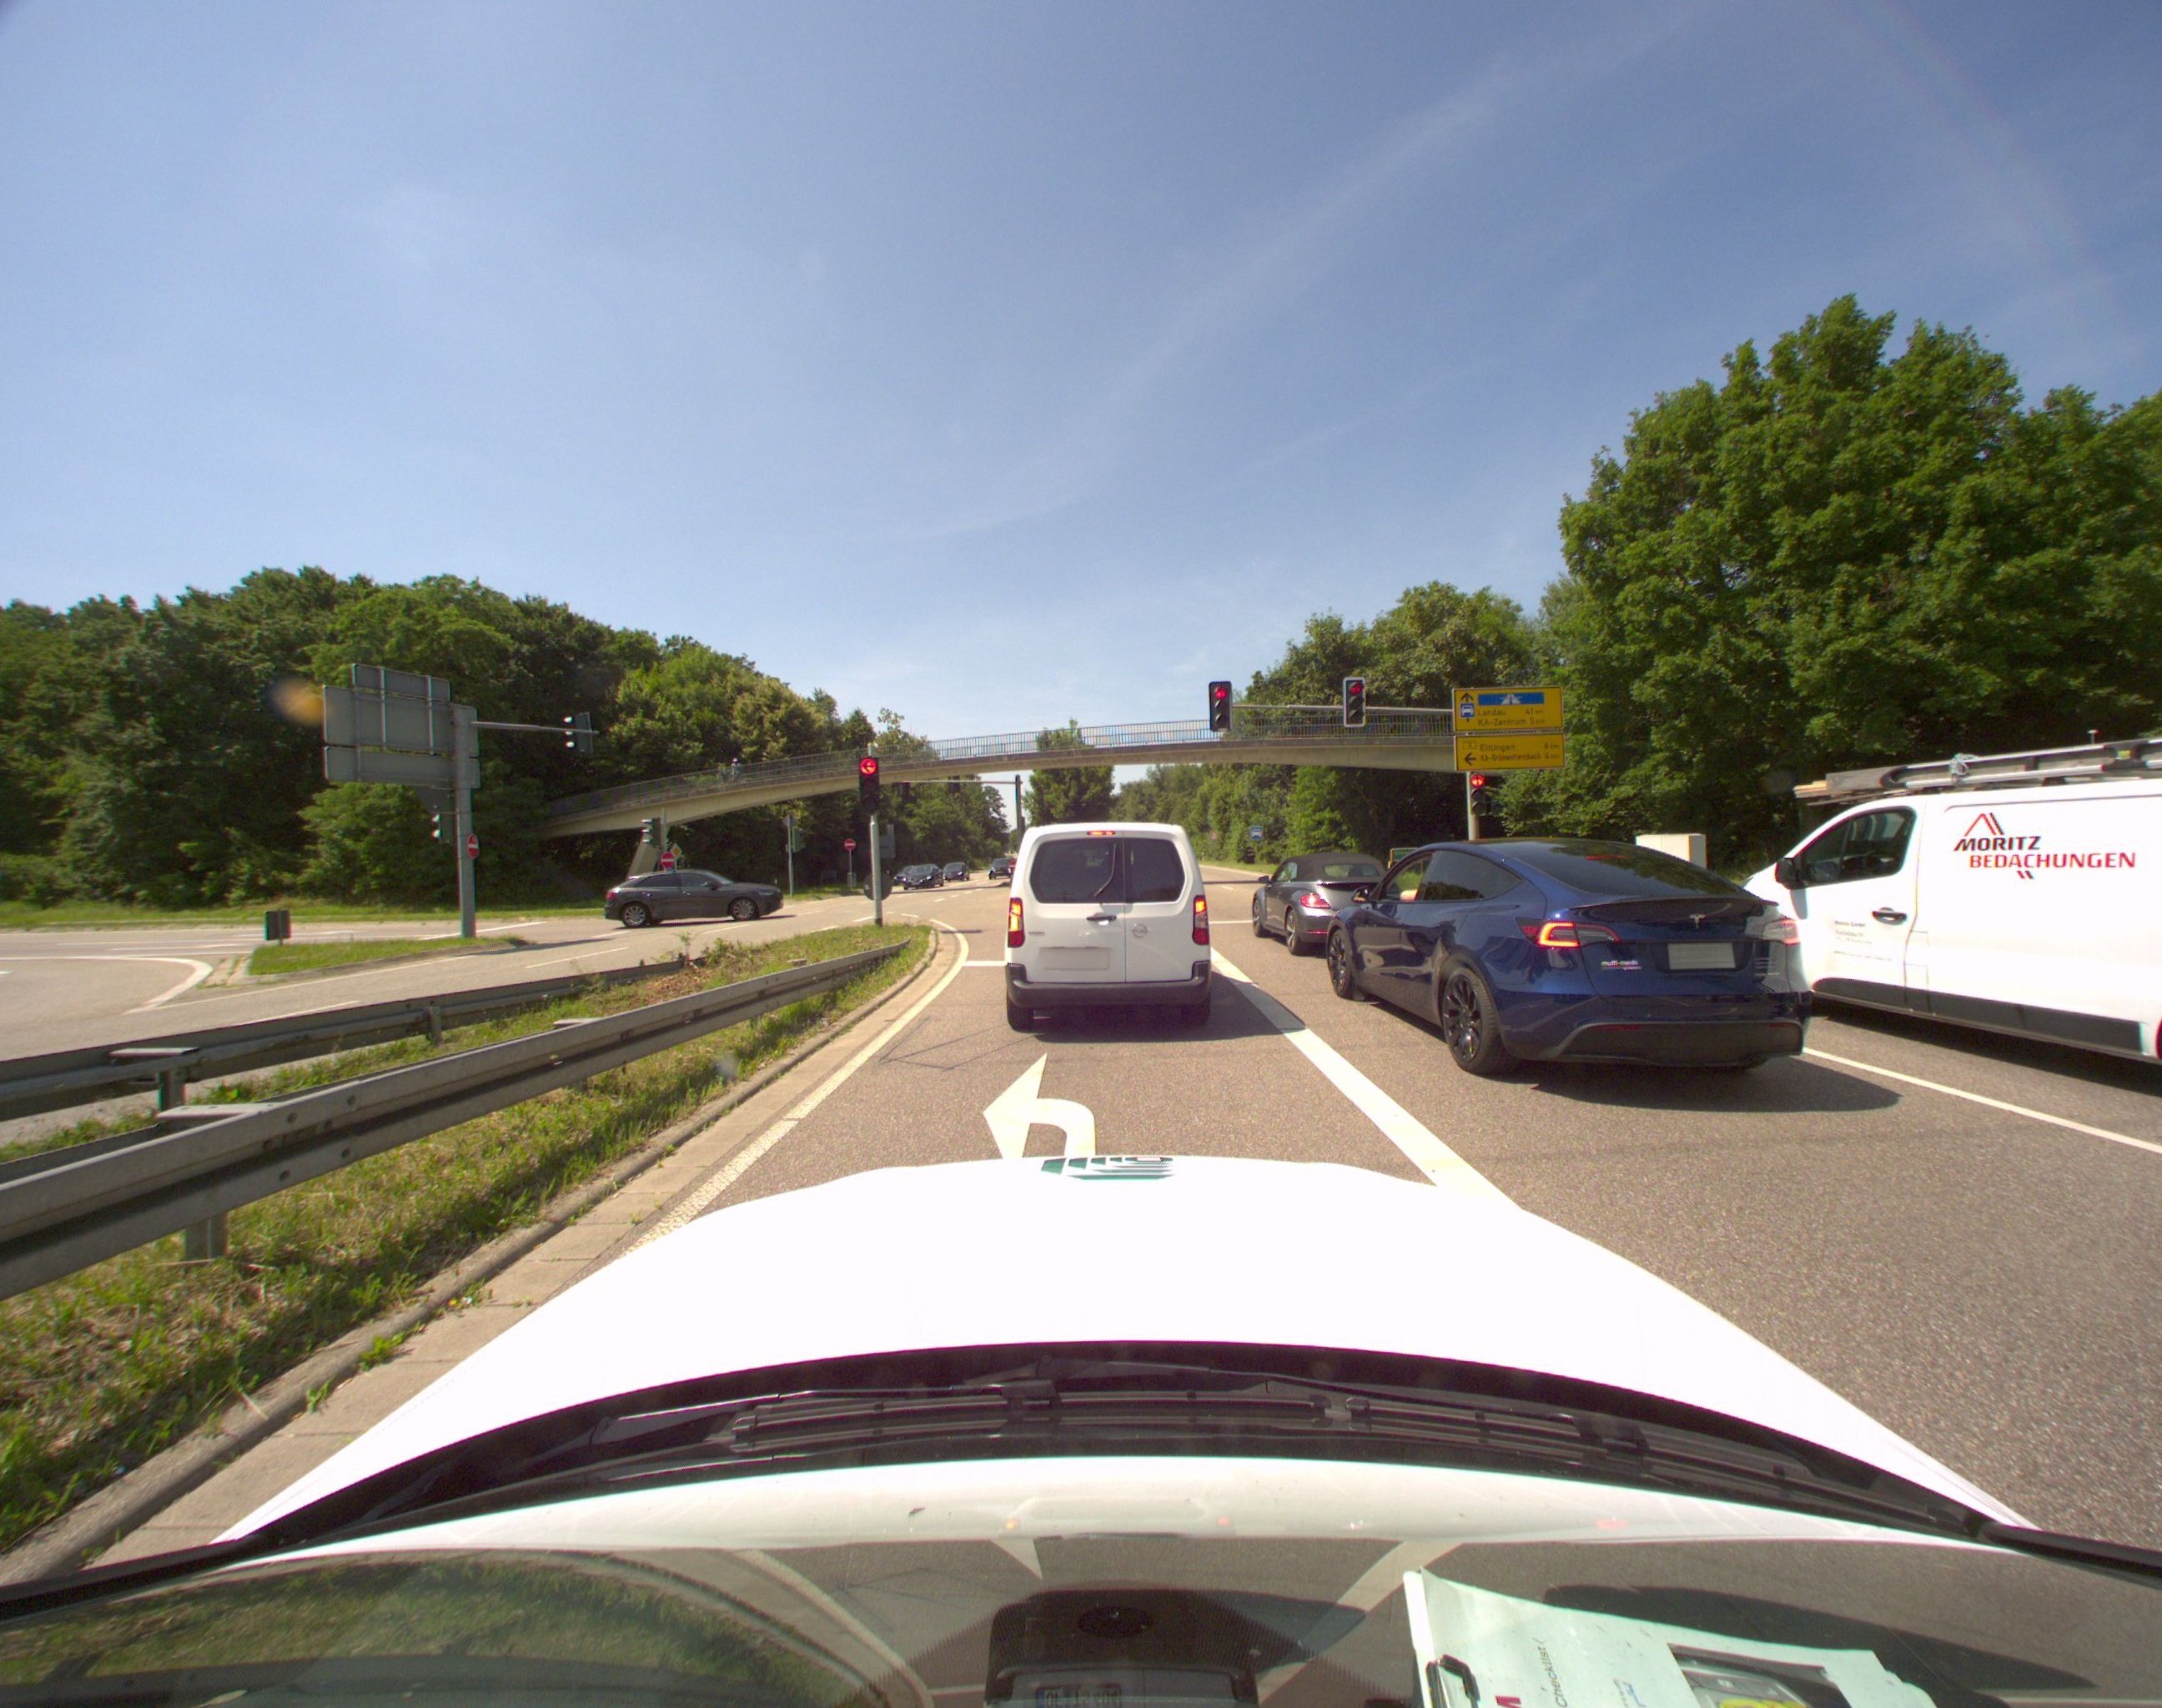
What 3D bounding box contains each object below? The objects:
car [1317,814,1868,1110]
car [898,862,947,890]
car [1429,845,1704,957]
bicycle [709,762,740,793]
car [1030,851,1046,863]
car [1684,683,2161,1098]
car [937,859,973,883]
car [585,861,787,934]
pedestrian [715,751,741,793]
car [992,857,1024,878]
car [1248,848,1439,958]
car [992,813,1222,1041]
[{"bbox_3d":[3.519,0.600,6.830,1.893,1.644,4.522,-1,0,2],"label":"car"},{"bbox_3d":[-9.554,1.323,49.396,2.001,1.460,4.057,-3,0,2],"label":"car"},{"bbox_3d":[7.379,0.619,13.000,1.893,1.478,4.382,-1,0,2],"label":"car"},{"bbox_3d":[-19.319,-4.142,44.125,1.514,1.474,0.472,-4,-2,17],"label":"bicycle"},{"bbox_3d":[-6.400,0.493,122.143,1.986,1.665,4.002,-3,0,2],"label":"car"},{"bbox_3d":[7.118,0.199,5.829,1.925,2.349,5.076,-1,0,1],"label":"car"},{"bbox_3d":[-9.696,1.263,62.850,1.986,1.665,4.002,-3,0,2],"label":"car"},{"bbox_3d":[-11.833,1.258,24.813,5.074,1.698,2.040,-4,2,-12],"label":"car"},{"bbox_3d":[-19.254,-4.474,44.401,0.776,2.139,0.936,-4,-2,17],"label":"pedestrian"},{"bbox_3d":[-5.607,1.030,62.698,1.986,1.523,4.029,0,0,2],"label":"car"},{"bbox_3d":[3.962,0.667,13.026,1.893,1.478,3.940,-1,0,2],"label":"car"},{"bbox_3d":[0.247,0.565,8.573,1.843,1.825,3.982,-1,1,1],"label":"car"}]
